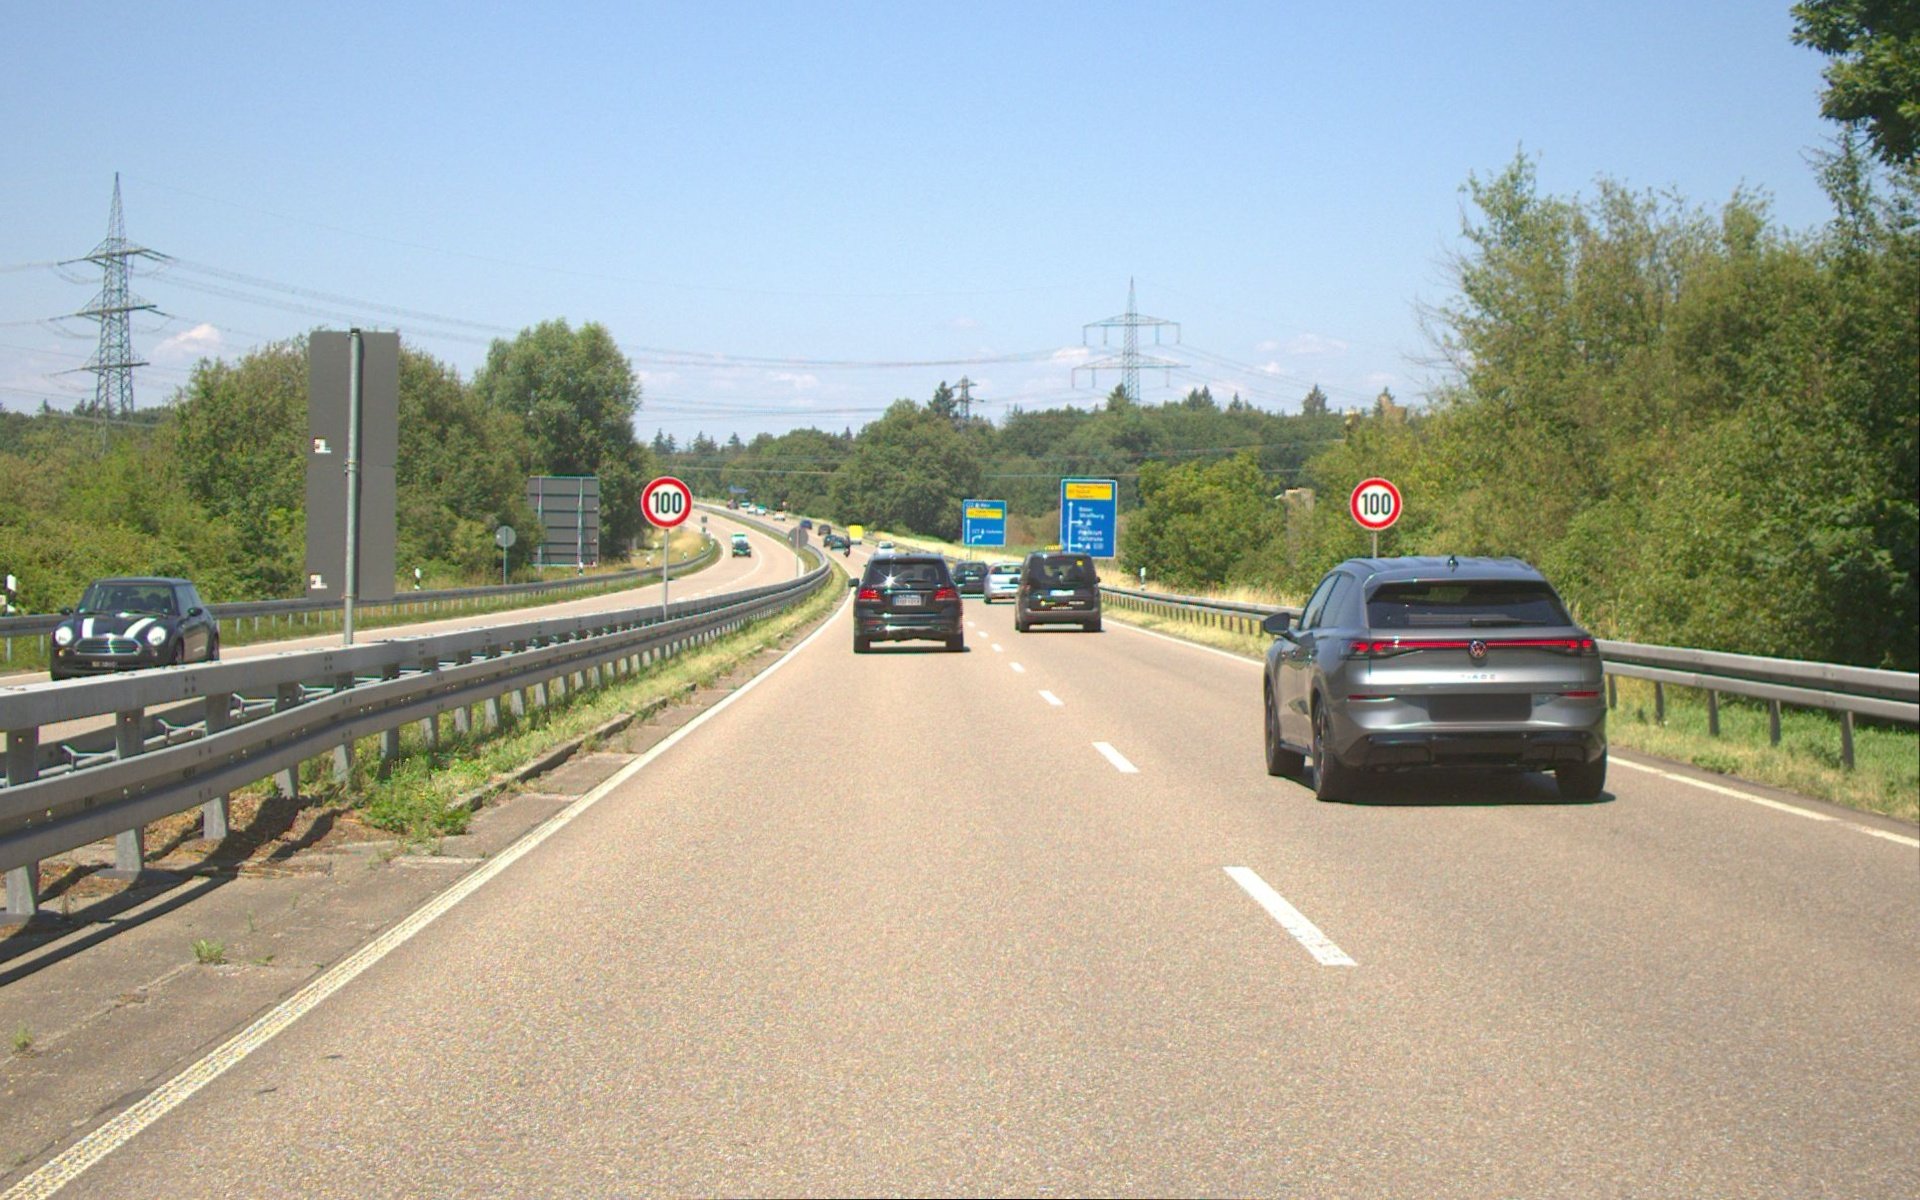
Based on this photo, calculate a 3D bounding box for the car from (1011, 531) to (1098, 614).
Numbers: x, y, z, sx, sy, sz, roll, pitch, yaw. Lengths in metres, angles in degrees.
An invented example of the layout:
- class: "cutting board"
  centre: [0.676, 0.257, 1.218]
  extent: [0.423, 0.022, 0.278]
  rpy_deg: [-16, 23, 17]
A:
- class: "car"
  centre: [2.098, -0.641, 77.572]
  extent: [1.779, 1.810, 4.213]
  rpy_deg: [0, 1, -1]

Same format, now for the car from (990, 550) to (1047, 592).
- class: "car"
  centre: [2.063, -1.040, 122.092]
  extent: [1.779, 1.474, 4.316]
  rpy_deg: [0, 1, -3]

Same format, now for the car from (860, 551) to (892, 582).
- class: "car"
  centre: [-4.340, -1.728, 177.023]
  extent: [1.514, 1.470, 3.067]
  rpy_deg: [3, 1, -3]

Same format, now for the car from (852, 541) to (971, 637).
- class: "car"
  centre: [-0.897, -0.224, 60.987]
  extent: [1.993, 1.649, 4.001]
  rpy_deg: [0, 1, -3]

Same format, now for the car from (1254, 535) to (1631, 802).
- class: "car"
  centre: [3.077, 0.373, 22.689]
  extent: [1.785, 1.548, 4.020]
  rpy_deg: [-1, 2, -2]

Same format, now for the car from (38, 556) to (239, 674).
- class: "car"
  centre: [-11.101, 0.166, 46.683]
  extent: [1.797, 1.463, 3.773]
  rpy_deg: [2, 1, 0]

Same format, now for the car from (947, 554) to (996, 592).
- class: "car"
  centre: [0.442, -1.077, 135.975]
  extent: [1.819, 1.409, 4.001]
  rpy_deg: [0, 2, -1]
